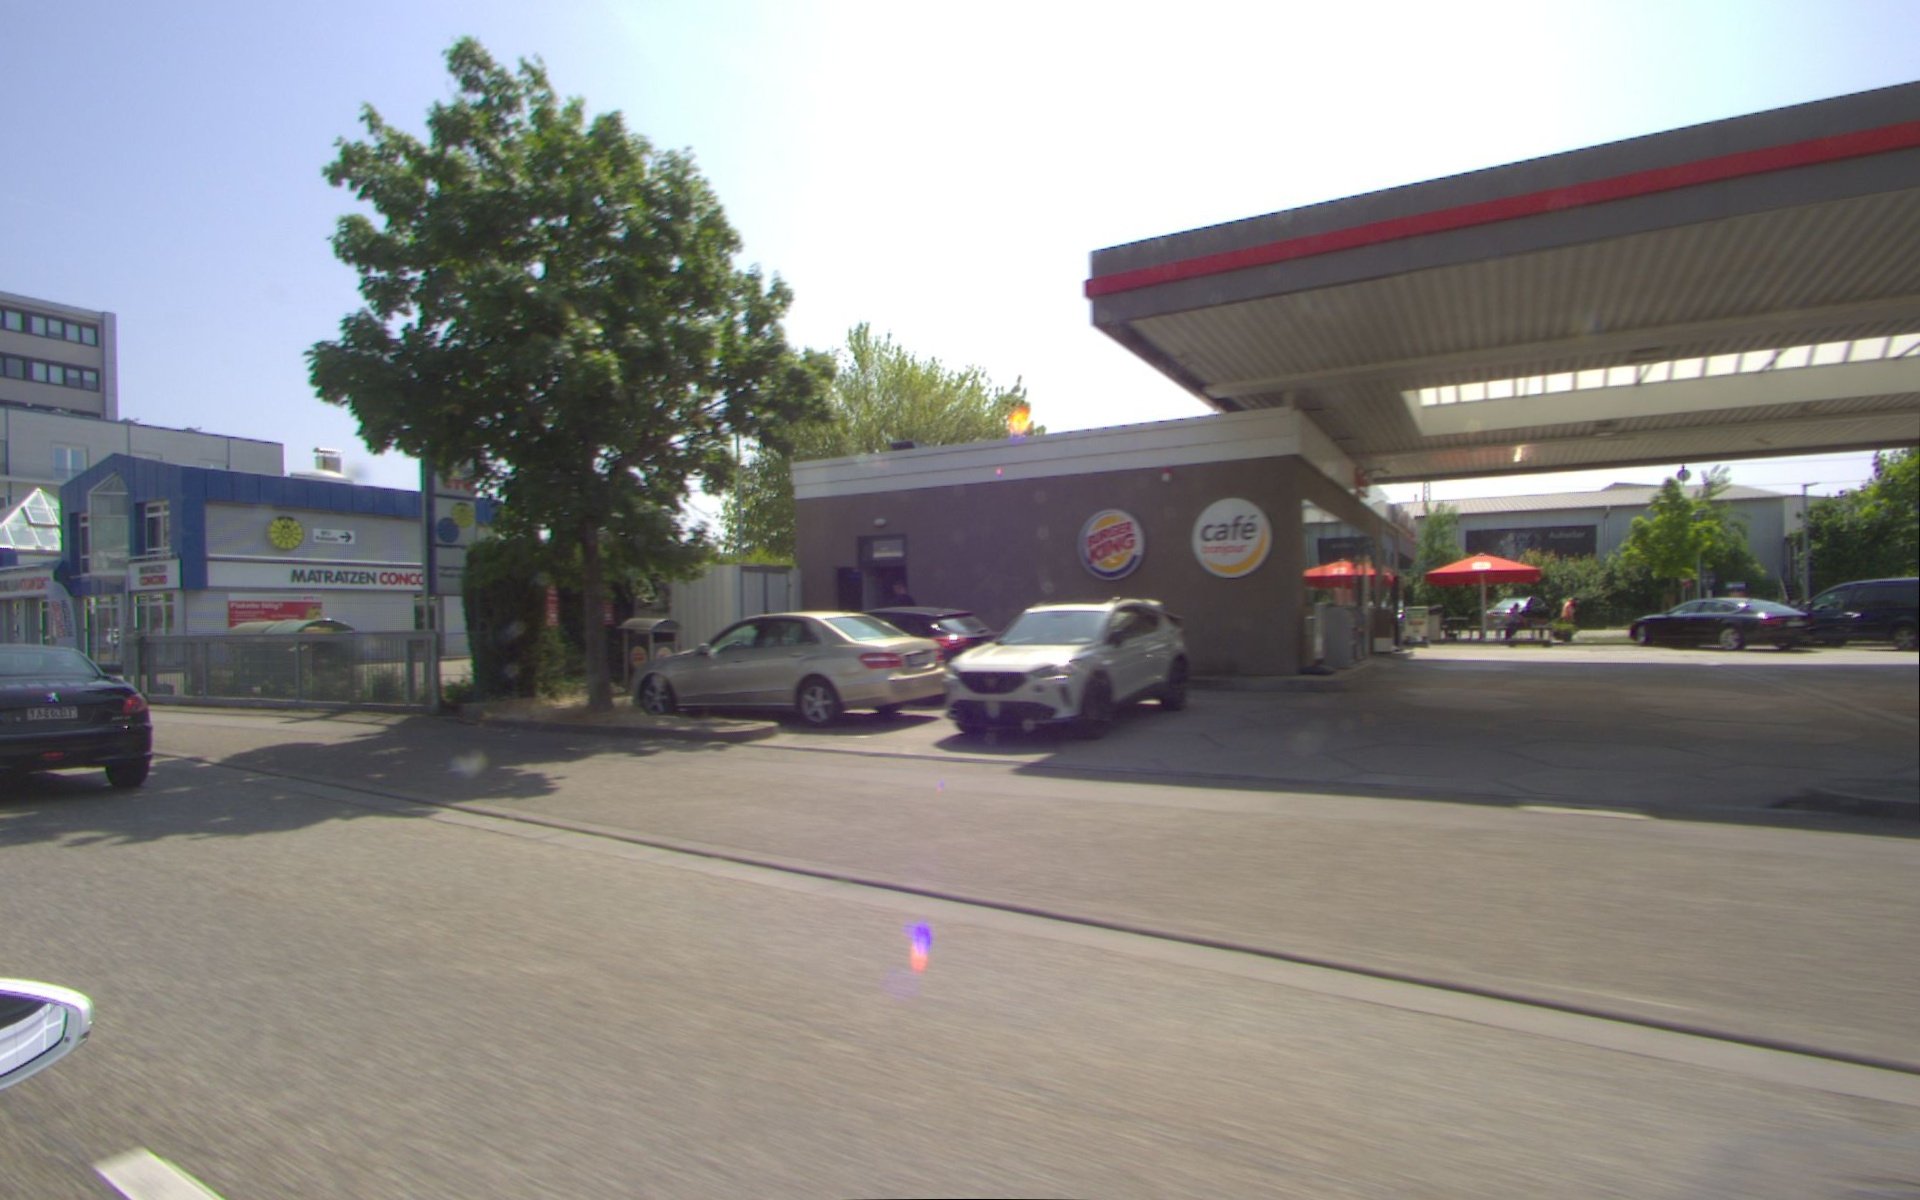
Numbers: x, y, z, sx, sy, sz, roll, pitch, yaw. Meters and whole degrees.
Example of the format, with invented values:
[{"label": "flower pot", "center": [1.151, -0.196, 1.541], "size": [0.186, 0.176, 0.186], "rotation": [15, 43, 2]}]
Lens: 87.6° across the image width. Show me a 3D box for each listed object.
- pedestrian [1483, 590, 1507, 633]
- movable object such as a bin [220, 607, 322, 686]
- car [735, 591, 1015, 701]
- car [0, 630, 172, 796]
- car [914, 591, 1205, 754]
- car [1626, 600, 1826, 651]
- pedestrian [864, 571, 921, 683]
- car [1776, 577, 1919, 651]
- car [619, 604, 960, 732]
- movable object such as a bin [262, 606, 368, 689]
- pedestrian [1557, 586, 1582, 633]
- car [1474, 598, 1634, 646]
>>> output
[{"label": "pedestrian", "center": [25.938, 0.573, 48.538], "size": [0.945, 2.057, 0.947], "rotation": [0, 1, 32]}, {"label": "movable object such as a bin", "center": [-13.557, 0.886, 19.709], "size": [1.467, 1.489, 1.129], "rotation": [0, 0, 30]}, {"label": "car", "center": [-1.406, 0.687, 16.362], "size": [4.186, 1.557, 1.898], "rotation": [-1, 2, 28]}, {"label": "car", "center": [-9.379, 0.996, 9.770], "size": [3.555, 1.381, 1.624], "rotation": [-1, -1, 33]}, {"label": "car", "center": [1.487, 0.740, 12.726], "size": [1.879, 1.548, 4.611], "rotation": [0, 2, 31]}, {"label": "car", "center": [21.216, 0.669, 28.006], "size": [1.757, 1.275, 4.490], "rotation": [-1, 0, -9]}, {"label": "pedestrian", "center": [-1.255, 0.509, 18.665], "size": [0.697, 2.039, 0.814], "rotation": [1, -1, -40]}, {"label": "car", "center": [24.242, 0.350, 26.305], "size": [1.685, 1.827, 4.321], "rotation": [-1, 0, -10]}, {"label": "car", "center": [-2.438, 0.864, 14.045], "size": [4.566, 1.486, 1.791], "rotation": [-1, 2, 28]}, {"label": "movable object such as a bin", "center": [-12.143, 0.865, 18.862], "size": [1.467, 1.489, 1.129], "rotation": [0, 0, 30]}, {"label": "pedestrian", "center": [27.004, 0.436, 44.354], "size": [0.945, 2.057, 0.947], "rotation": [0, 1, 32]}, {"label": "car", "center": [18.822, 0.685, 31.840], "size": [3.923, 1.439, 1.999], "rotation": [-1, 0, -5]}]
